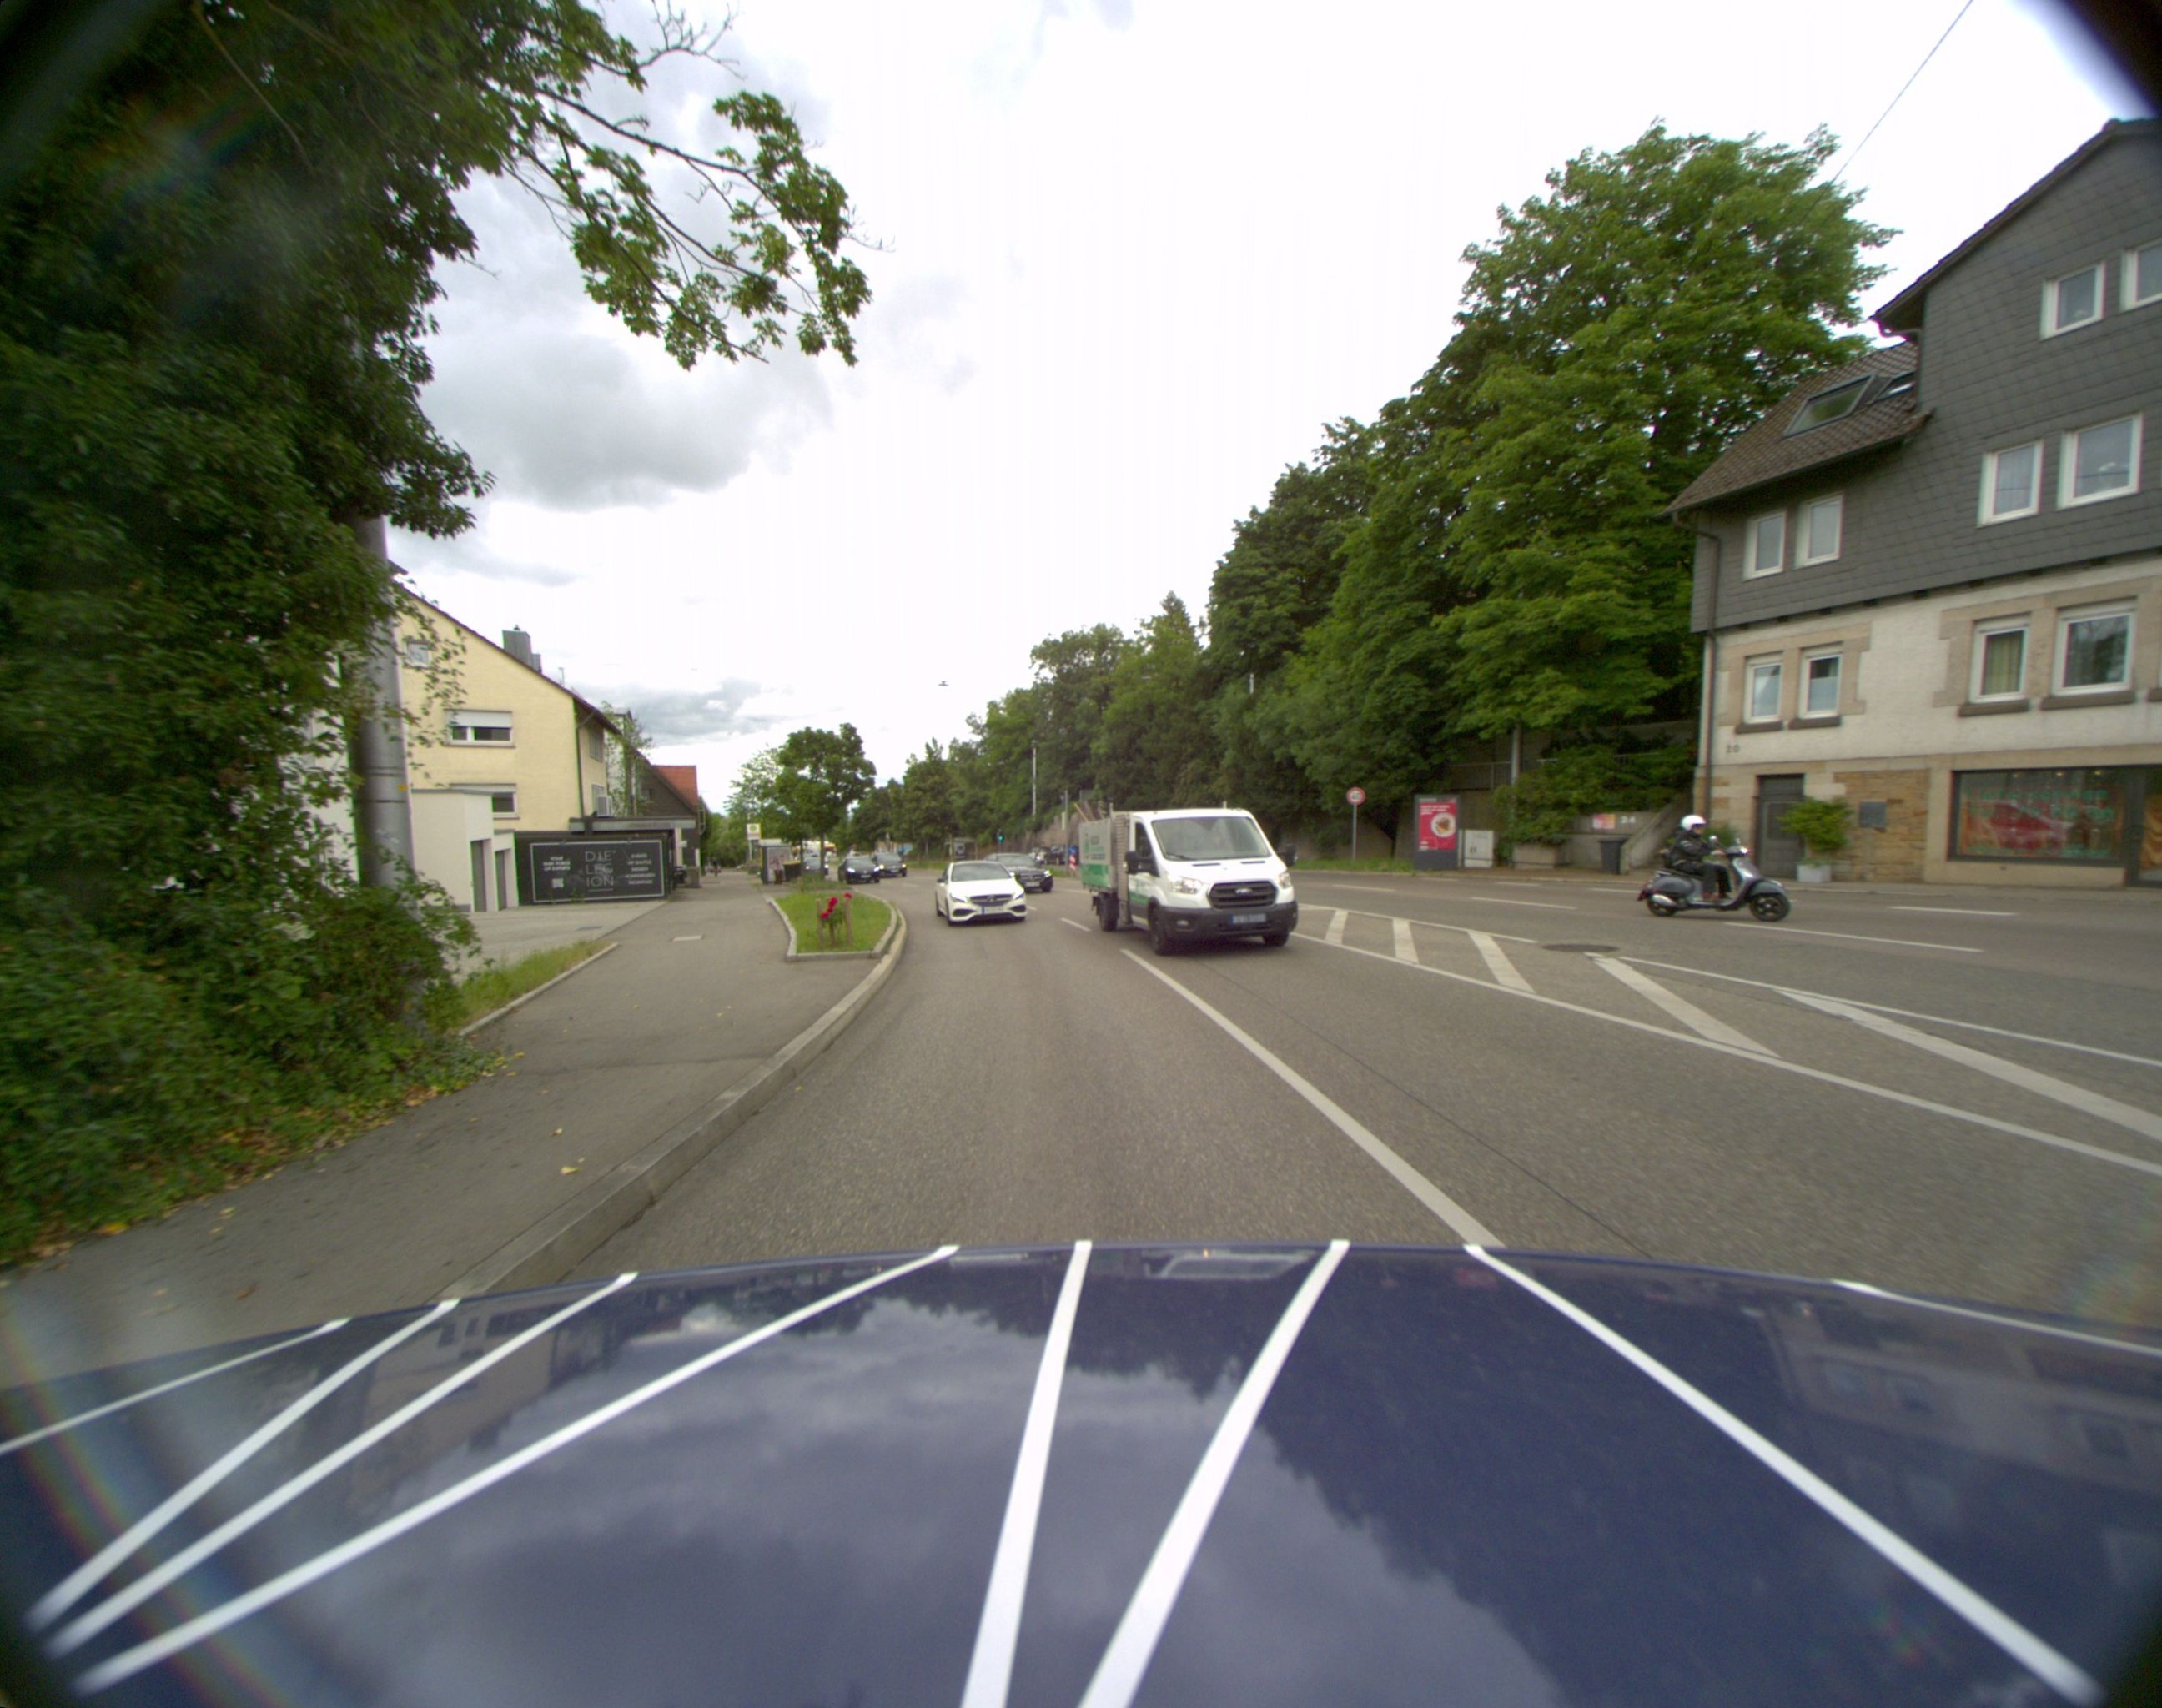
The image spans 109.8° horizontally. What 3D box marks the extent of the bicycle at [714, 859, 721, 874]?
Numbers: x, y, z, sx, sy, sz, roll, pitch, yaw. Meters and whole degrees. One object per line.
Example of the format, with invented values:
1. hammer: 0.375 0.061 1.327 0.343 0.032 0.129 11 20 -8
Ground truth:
1. bicycle: -31.991 1.088 66.849 0.574 1.255 2.034 -2 0 -26

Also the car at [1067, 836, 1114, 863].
1. car: 0.645 -0.312 57.234 1.787 1.832 4.479 -4 1 -23

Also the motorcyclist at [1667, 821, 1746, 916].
1. motorcyclist: 9.749 0.216 11.854 0.685 1.411 0.721 -3 1 -26

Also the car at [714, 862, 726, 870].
1. car: -72.631 2.418 152.910 1.926 1.641 3.991 -3 1 -27

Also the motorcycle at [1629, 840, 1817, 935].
1. motorcycle: 9.887 0.471 11.800 0.831 1.291 2.041 -5 2 -27

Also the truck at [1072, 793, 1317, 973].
1. truck: 1.516 0.304 13.245 2.082 2.308 6.323 -3 2 -12

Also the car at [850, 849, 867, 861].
1. car: -37.362 0.223 127.396 1.947 1.946 5.011 -2 1 -25

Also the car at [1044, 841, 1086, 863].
1. car: -1.371 -0.159 62.711 1.977 1.647 4.523 -4 2 -22

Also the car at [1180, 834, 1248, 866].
1. car: 7.023 -0.200 40.480 1.719 1.520 4.294 -4 1 -18

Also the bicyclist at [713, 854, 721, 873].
1. bicyclist: -31.771 0.837 66.404 0.540 1.624 0.945 -3 1 -25

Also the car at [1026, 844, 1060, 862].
1. car: -3.411 -0.108 67.784 1.788 1.490 3.091 -4 1 -27

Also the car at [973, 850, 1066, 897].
1. car: -2.371 0.669 27.970 1.919 1.472 4.391 -4 1 -25

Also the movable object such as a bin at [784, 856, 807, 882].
1. movable object such as a bin: -16.793 0.869 44.697 1.090 1.473 1.533 -3 1 -25

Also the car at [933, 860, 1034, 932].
1. car: -2.472 0.921 18.455 1.819 1.391 3.994 -3 1 -15

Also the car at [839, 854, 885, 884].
1. car: -12.501 0.852 43.288 1.781 1.532 3.992 -4 1 -26

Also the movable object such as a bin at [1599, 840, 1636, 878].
1. movable object such as a bin: 15.194 0.129 21.538 0.540 1.014 0.646 -2 4 -12
